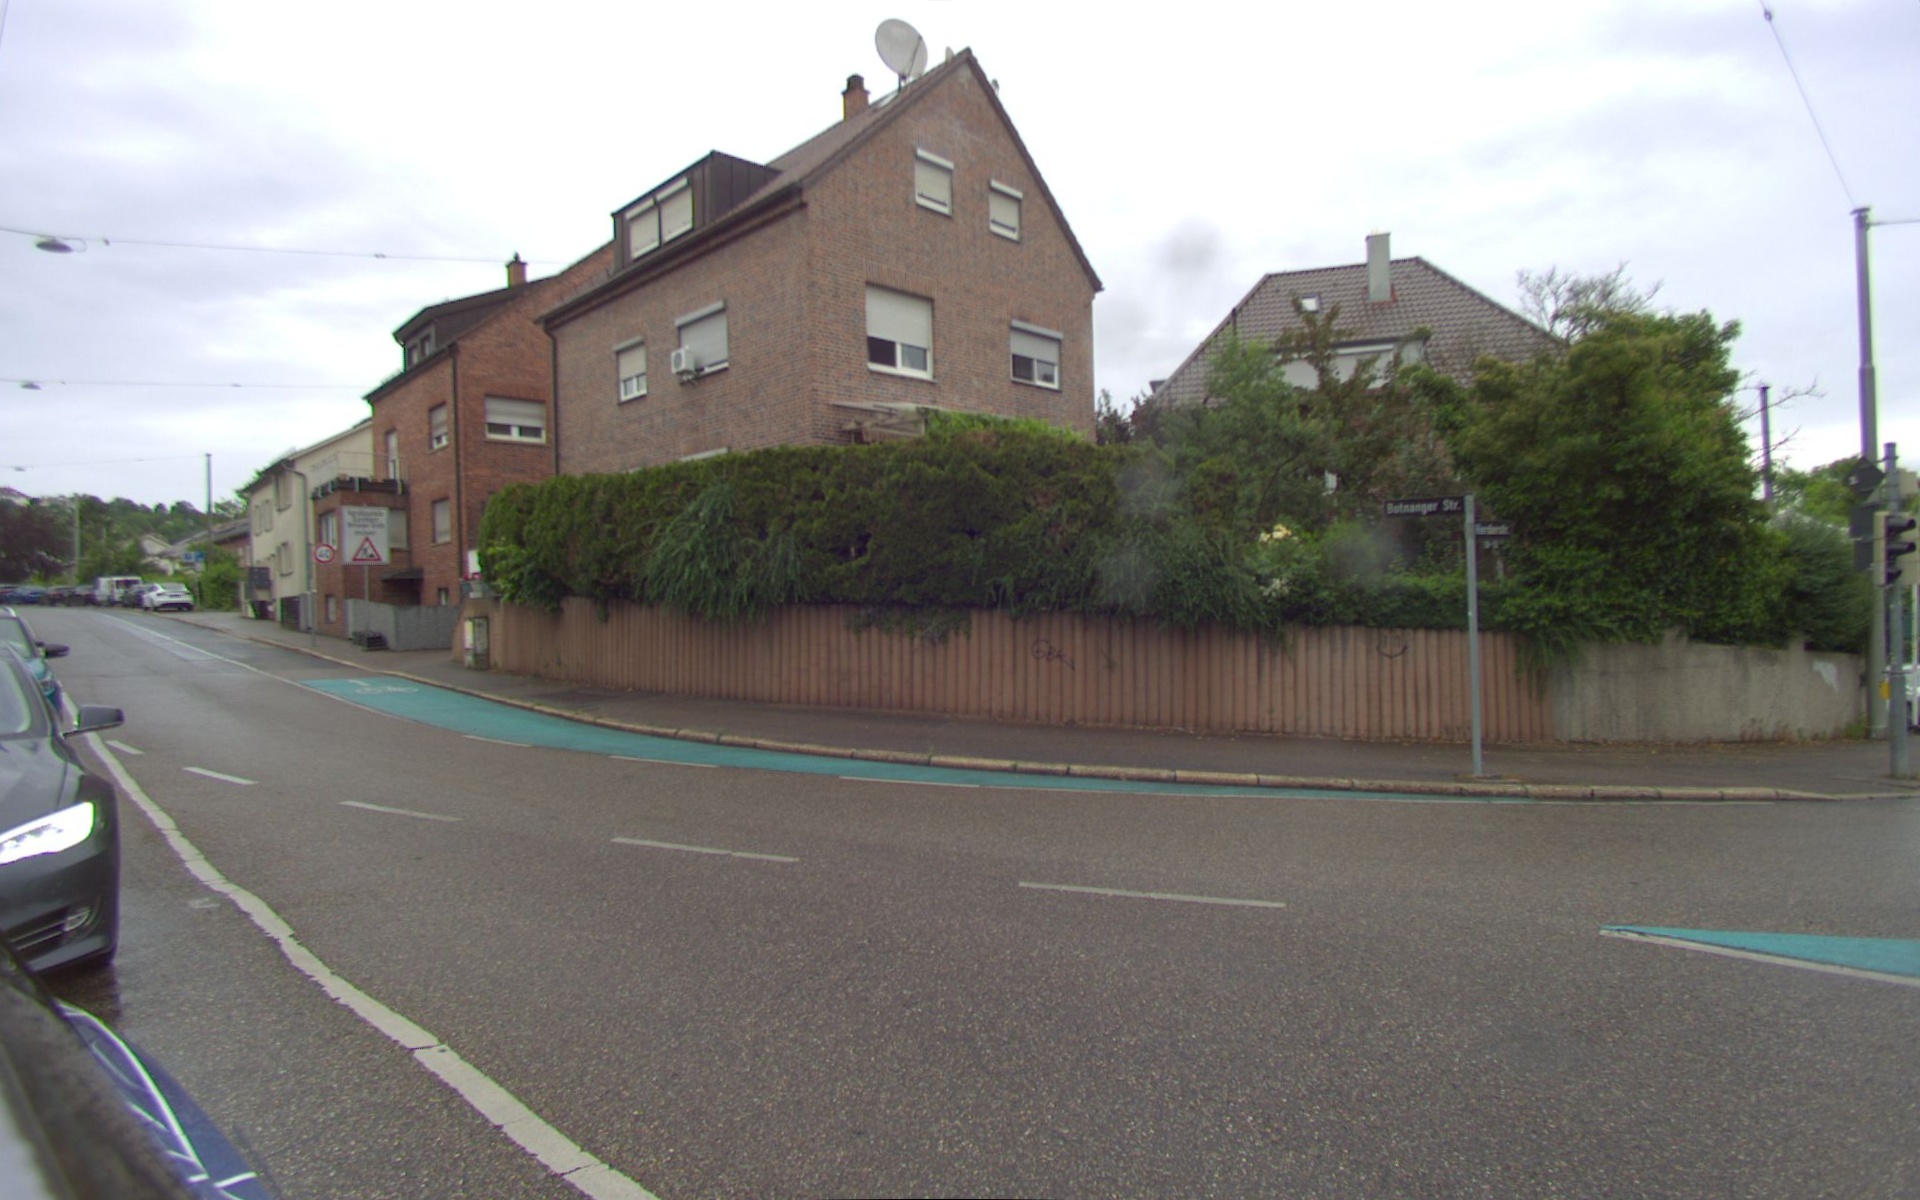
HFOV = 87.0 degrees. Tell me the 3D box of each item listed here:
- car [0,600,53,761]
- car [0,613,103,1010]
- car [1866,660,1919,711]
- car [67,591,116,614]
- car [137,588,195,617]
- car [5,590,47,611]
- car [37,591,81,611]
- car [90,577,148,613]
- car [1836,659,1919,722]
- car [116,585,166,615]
[{"bbox_3d":[-11.272,0.807,11.101,3.785,1.601,1.765,0,0,45],"label":"car"},{"bbox_3d":[-5.391,0.798,4.685,4.002,1.426,1.845,0,0,45],"label":"car"},{"bbox_3d":[30.084,2.556,30.391,1.957,1.519,4.477,-2,-4,7],"label":"car"},{"bbox_3d":[-61.481,0.179,71.600,4.002,1.501,1.636,-1,2,34],"label":"car"},{"bbox_3d":[-46.432,0.156,59.131,4.262,1.577,1.921,0,2,42],"label":"car"},{"bbox_3d":[-71.148,0.073,77.113,3.895,1.501,1.605,-1,2,36],"label":"car"},{"bbox_3d":[-66.600,0.066,74.754,3.854,1.407,1.635,-1,2,36],"label":"car"},{"bbox_3d":[-57.028,-0.327,68.582,4.544,2.303,2.229,0,2,41],"label":"car"},{"bbox_3d":[26.780,2.476,28.010,1.837,1.644,4.297,-2,-3,11],"label":"car"},{"bbox_3d":[-52.381,-0.017,64.724,4.262,1.817,1.791,0,2,42],"label":"car"}]
